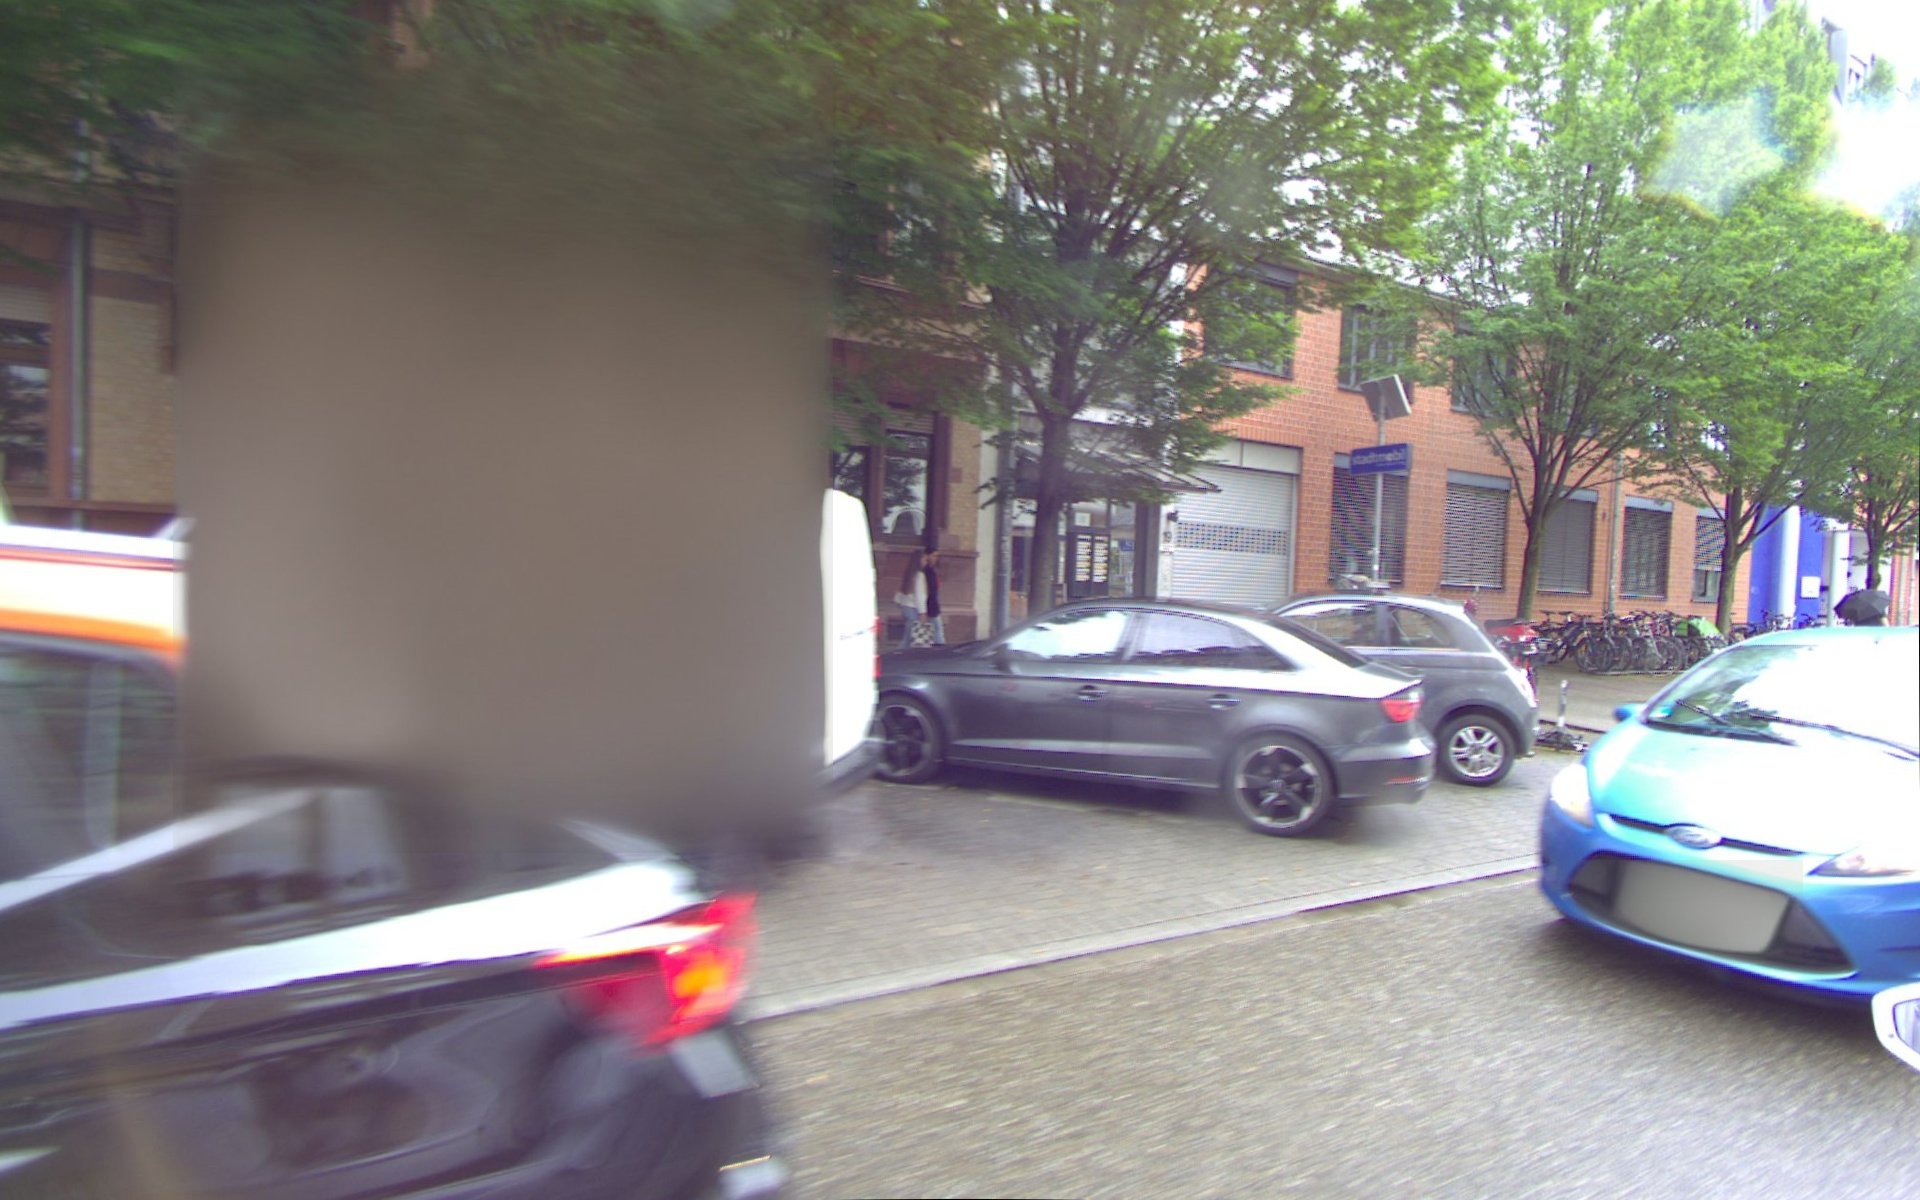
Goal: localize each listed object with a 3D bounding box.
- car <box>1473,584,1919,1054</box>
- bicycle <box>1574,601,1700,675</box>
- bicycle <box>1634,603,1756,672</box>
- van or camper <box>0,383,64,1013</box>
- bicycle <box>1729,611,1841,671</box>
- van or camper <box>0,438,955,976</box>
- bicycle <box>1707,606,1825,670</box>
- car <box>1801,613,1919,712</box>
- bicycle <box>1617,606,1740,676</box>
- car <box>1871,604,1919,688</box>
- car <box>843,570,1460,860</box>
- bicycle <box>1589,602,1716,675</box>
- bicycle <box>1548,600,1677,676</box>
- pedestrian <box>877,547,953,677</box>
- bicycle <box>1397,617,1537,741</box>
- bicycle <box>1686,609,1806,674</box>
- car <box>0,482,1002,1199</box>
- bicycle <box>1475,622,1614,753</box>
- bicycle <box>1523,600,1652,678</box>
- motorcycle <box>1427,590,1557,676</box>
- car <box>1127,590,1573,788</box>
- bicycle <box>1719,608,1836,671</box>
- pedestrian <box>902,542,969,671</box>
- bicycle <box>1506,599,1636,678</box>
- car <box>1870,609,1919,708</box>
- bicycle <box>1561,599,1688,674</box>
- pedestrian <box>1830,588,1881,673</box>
[{"bbox_3d":[4.431,0.741,4.803,3.958,1.485,1.661,2,1,-31],"label":"car"},{"bbox_3d":[13.145,0.708,19.569,0.547,1.168,1.885,1,6,-31],"label":"bicycle"},{"bbox_3d":[15.217,0.753,20.848,0.547,1.168,1.885,1,6,-31],"label":"bicycle"},{"bbox_3d":[-5.282,0.146,3.510,4.367,2.002,1.779,5,3,28],"label":"van or camper"},{"bbox_3d":[19.711,0.949,24.052,0.547,1.168,1.885,1,6,-31],"label":"bicycle"},{"bbox_3d":[-2.622,0.252,5.615,4.605,1.979,2.336,4,3,19],"label":"van or camper"},{"bbox_3d":[17.981,0.832,22.462,0.547,1.168,1.885,1,6,-31],"label":"bicycle"},{"bbox_3d":[15.693,0.994,15.634,3.644,1.471,1.684,2,0,26],"label":"car"},{"bbox_3d":[14.667,0.811,20.563,0.547,1.168,1.885,1,6,-31],"label":"bicycle"},{"bbox_3d":[20.214,1.085,18.544,4.443,1.559,2.334,7,3,28],"label":"car"},{"bbox_3d":[1.325,0.630,7.322,3.901,1.466,1.767,4,3,21],"label":"car"},{"bbox_3d":[13.574,0.737,19.756,0.547,1.168,1.885,1,6,-31],"label":"bicycle"},{"bbox_3d":[12.259,0.696,18.939,0.547,1.168,1.885,1,6,-31],"label":"bicycle"},{"bbox_3d":[-0.562,0.137,12.426,0.581,1.517,0.683,1,5,-35],"label":"pedestrian"},{"bbox_3d":[5.733,0.830,11.295,0.773,1.173,2.133,4,3,44],"label":"bicycle"},{"bbox_3d":[17.141,0.883,21.955,0.547,1.168,1.885,1,6,-31],"label":"bicycle"},{"bbox_3d":[-2.076,0.635,1.120,3.957,1.580,1.661,2,1,-31],"label":"car"},{"bbox_3d":[6.285,0.870,10.746,0.740,1.173,2.206,4,3,44],"label":"bicycle"},{"bbox_3d":[11.544,0.698,18.550,0.547,1.168,1.885,1,6,-31],"label":"bicycle"},{"bbox_3d":[9.169,0.542,17.406,0.648,1.242,1.875,1,6,-26],"label":"motorcycle"},{"bbox_3d":[3.370,0.690,9.122,3.411,1.455,1.651,2,0,18],"label":"car"},{"bbox_3d":[18.564,0.871,22.861,0.547,1.168,1.885,1,6,-31],"label":"bicycle"},{"bbox_3d":[-0.329,0.075,13.190,0.583,1.624,0.563,1,5,-35],"label":"pedestrian"},{"bbox_3d":[11.084,0.667,18.298,0.547,1.168,1.885,1,6,-31],"label":"bicycle"},{"bbox_3d":[17.956,1.047,17.086,3.324,1.676,1.631,2,0,28],"label":"car"},{"bbox_3d":[12.690,0.677,19.254,0.547,1.168,1.885,1,6,-31],"label":"bicycle"},{"bbox_3d":[18.674,0.628,20.958,0.428,1.730,0.609,3,0,-29],"label":"pedestrian"}]
